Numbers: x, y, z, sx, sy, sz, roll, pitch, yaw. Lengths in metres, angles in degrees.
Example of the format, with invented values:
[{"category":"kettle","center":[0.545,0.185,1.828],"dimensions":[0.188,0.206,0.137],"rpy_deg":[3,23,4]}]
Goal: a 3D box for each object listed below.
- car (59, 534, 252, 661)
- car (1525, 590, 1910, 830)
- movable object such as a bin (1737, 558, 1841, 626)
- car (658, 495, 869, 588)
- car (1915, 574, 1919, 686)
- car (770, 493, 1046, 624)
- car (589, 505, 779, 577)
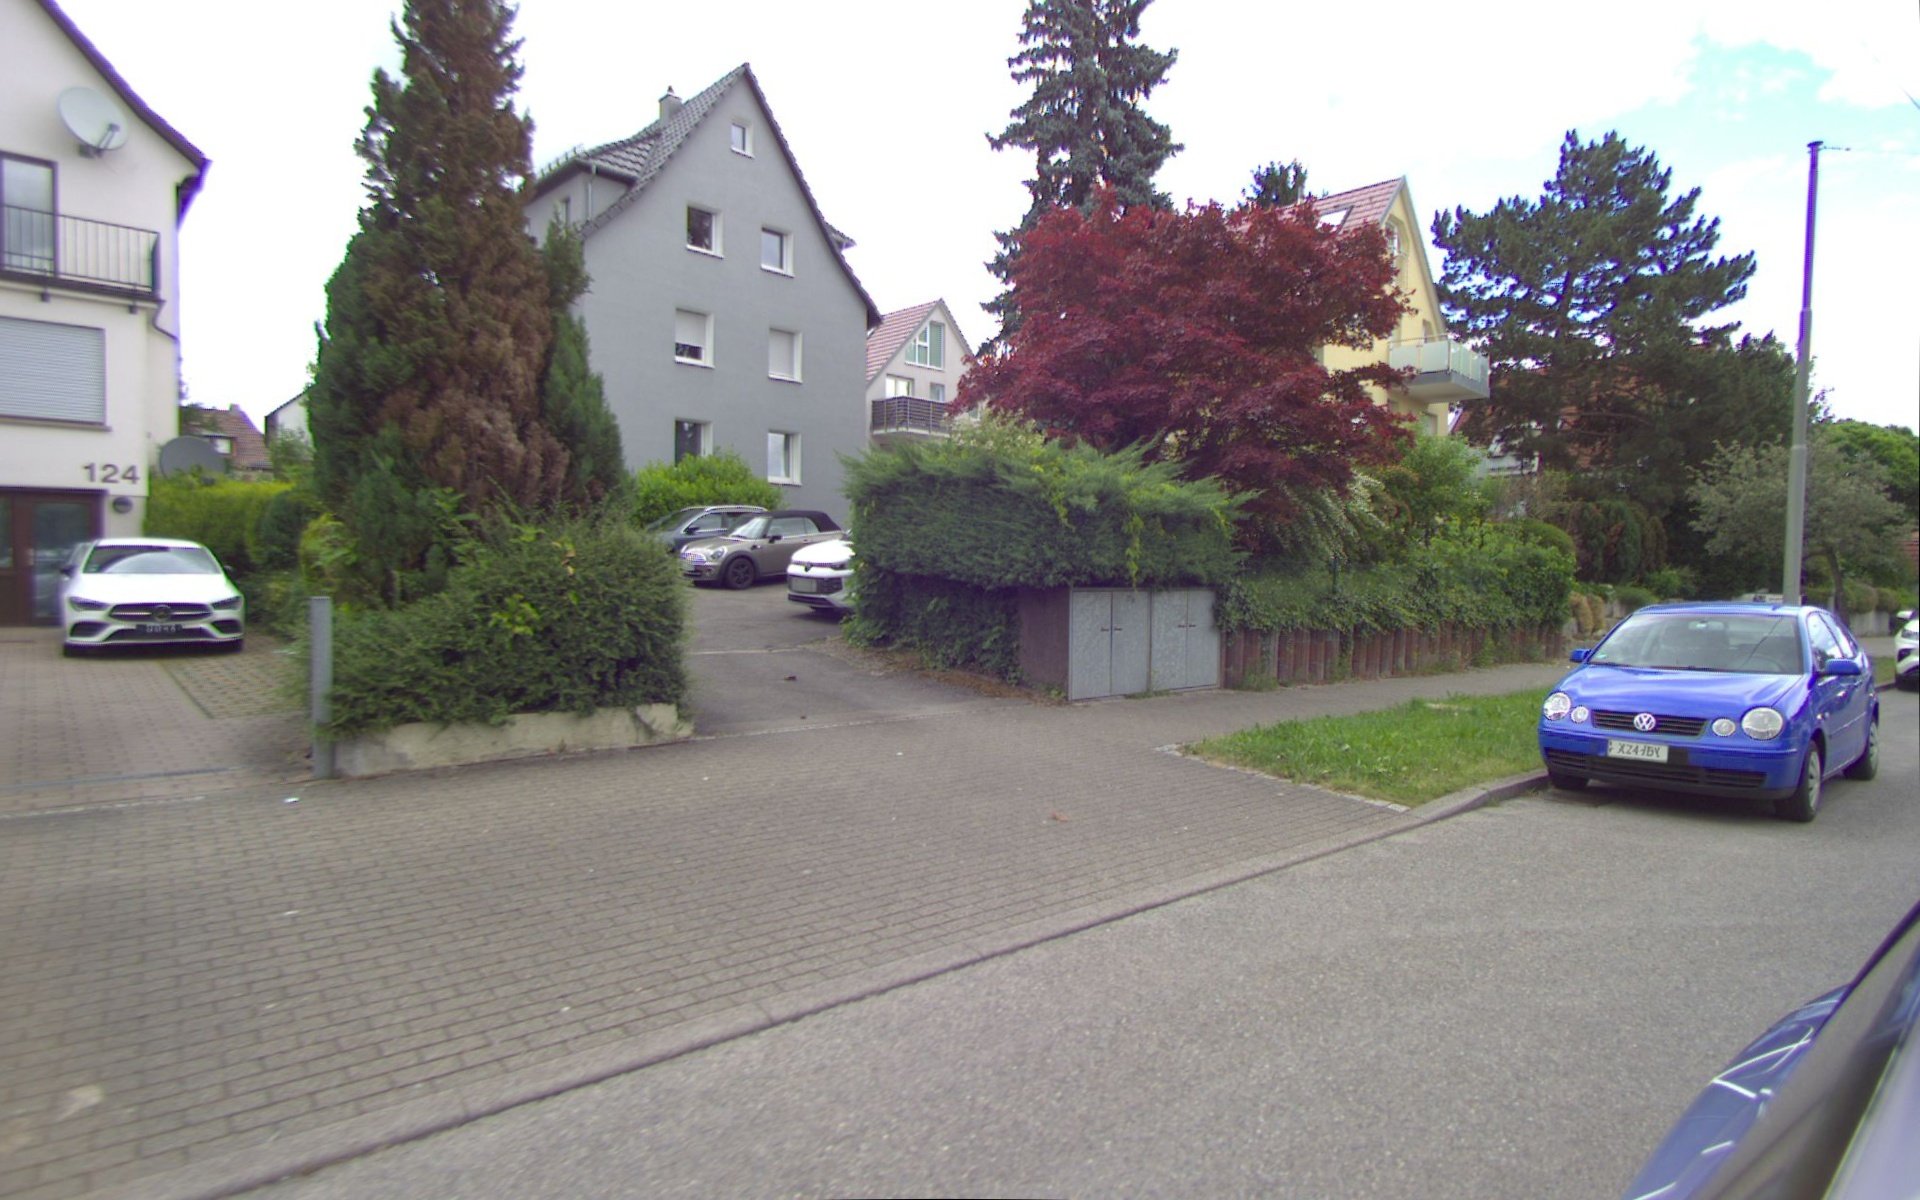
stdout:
[{"category":"car","center":[-10.980,-0.134,13.709],"dimensions":[1.771,1.434,3.993],"rpy_deg":[-1,4,-43]},{"category":"car","center":[6.199,0.670,8.134],"dimensions":[3.807,1.470,1.630],"rpy_deg":[0,1,-40]},{"category":"movable object such as a bin","center":[25.874,-0.254,31.624],"dimensions":[1.319,2.039,2.315],"rpy_deg":[0,0,-40]},{"category":"car","center":[-3.918,-1.225,20.582],"dimensions":[1.810,1.609,3.871],"rpy_deg":[9,9,43]},{"category":"car","center":[17.834,0.491,17.190],"dimensions":[4.621,1.800,1.803],"rpy_deg":[0,0,-40]},{"category":"car","center":[-0.715,-0.817,16.535],"dimensions":[4.468,1.696,1.780],"rpy_deg":[-8,11,-44]},{"category":"car","center":[-5.867,-1.344,21.852],"dimensions":[1.426,1.365,3.795],"rpy_deg":[5,8,42]}]
